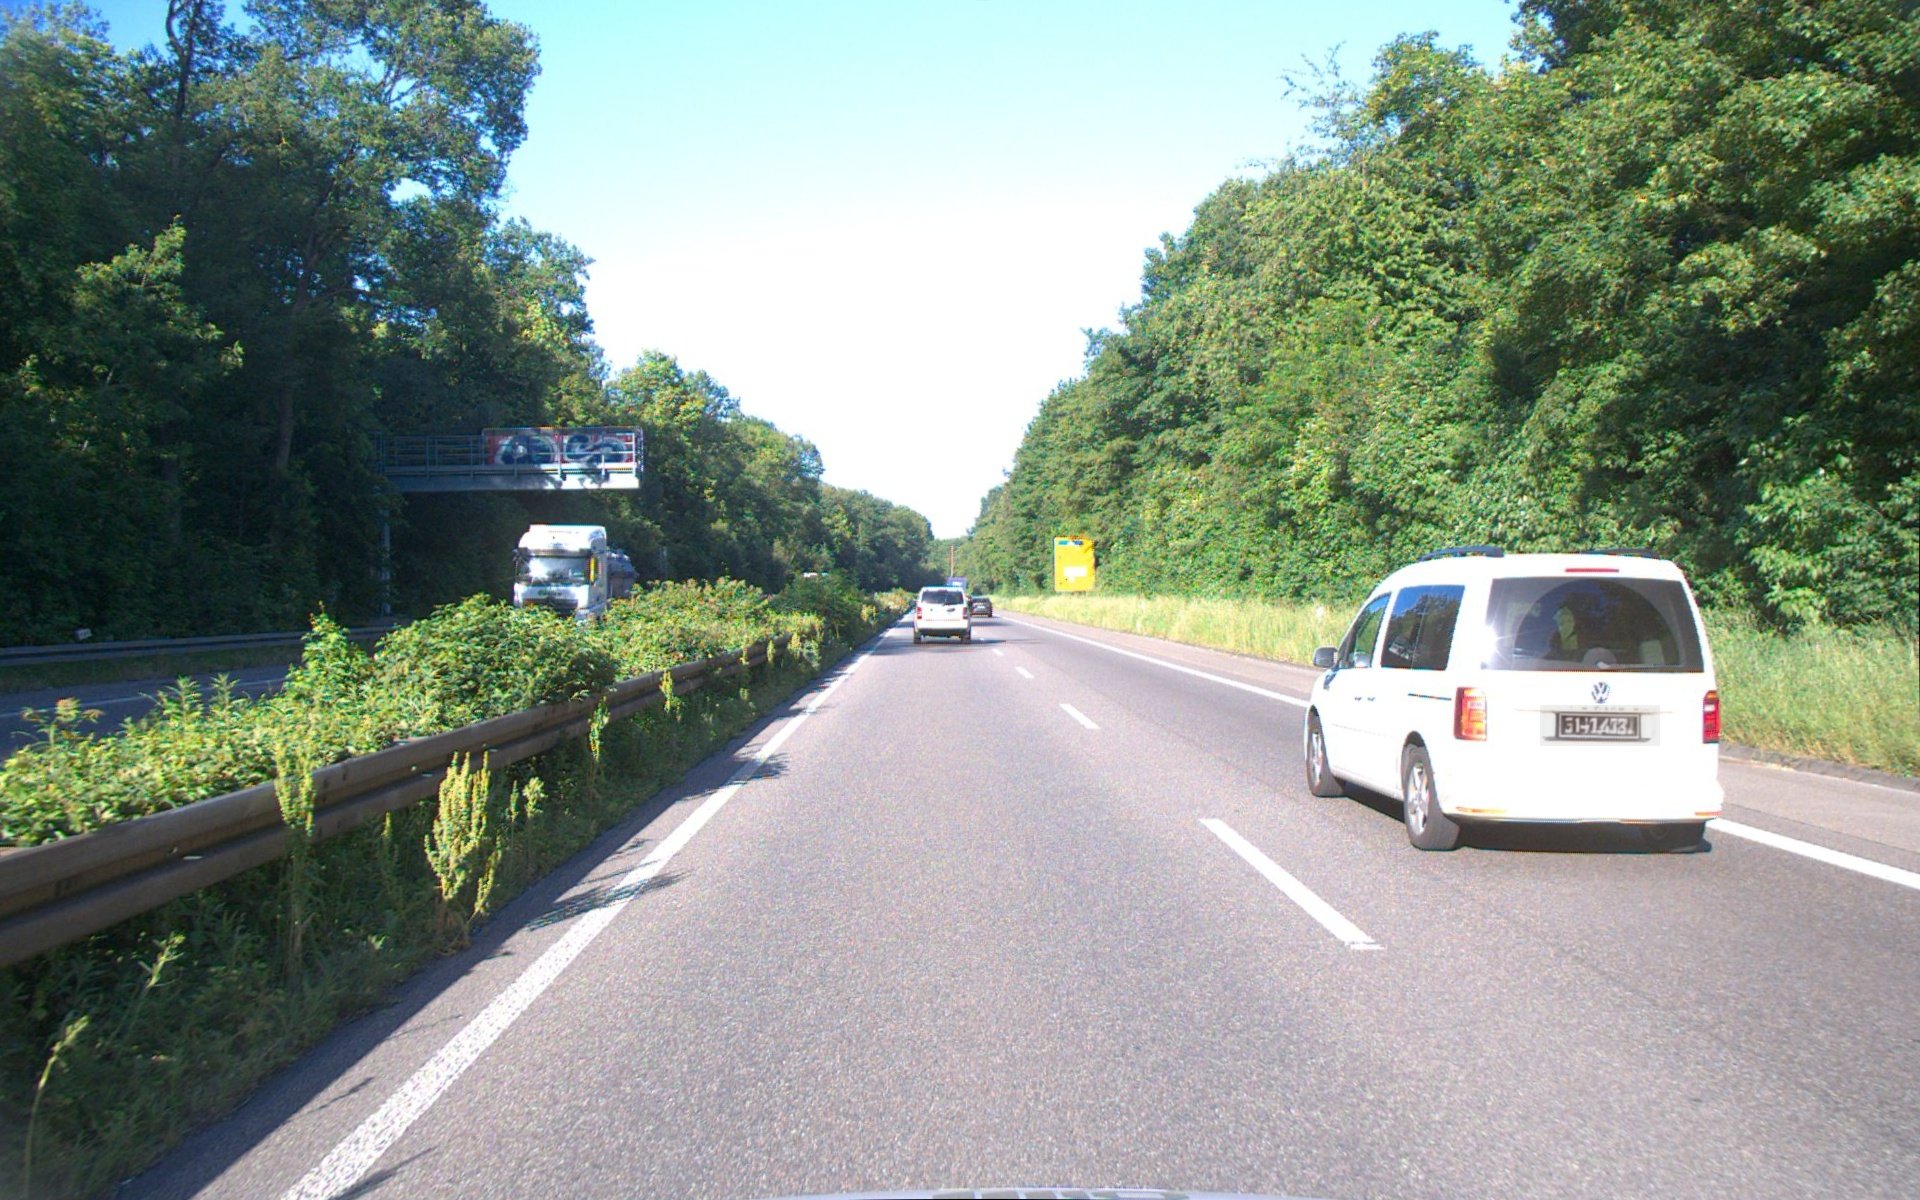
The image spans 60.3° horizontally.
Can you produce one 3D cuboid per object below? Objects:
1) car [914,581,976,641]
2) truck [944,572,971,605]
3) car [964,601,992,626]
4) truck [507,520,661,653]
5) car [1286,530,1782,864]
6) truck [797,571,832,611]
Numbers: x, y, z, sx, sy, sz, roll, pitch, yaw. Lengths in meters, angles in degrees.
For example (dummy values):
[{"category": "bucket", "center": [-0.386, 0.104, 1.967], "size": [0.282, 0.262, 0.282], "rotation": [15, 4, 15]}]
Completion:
[{"category": "car", "center": [-0.520, 0.357, 53.331], "size": [1.912, 1.813, 4.586], "rotation": [1, 0, -2]}, {"category": "truck", "center": [-0.343, -1.593, 233.654], "size": [3.658, 4.419, 9.302], "rotation": [1, 0, -1]}, {"category": "car", "center": [1.300, 1.005, 122.275], "size": [1.912, 1.813, 4.586], "rotation": [1, 0, -2]}, {"category": "truck", "center": [-12.583, -0.380, 56.552], "size": [2.713, 4.024, 11.464], "rotation": [1, 0, -1]}, {"category": "car", "center": [3.674, 0.556, 11.562], "size": [1.762, 1.844, 4.586], "rotation": [1, 0, -2]}, {"category": "truck", "center": [-15.276, -0.967, 173.839], "size": [3.163, 4.083, 5.675], "rotation": [1, 0, -1]}]
